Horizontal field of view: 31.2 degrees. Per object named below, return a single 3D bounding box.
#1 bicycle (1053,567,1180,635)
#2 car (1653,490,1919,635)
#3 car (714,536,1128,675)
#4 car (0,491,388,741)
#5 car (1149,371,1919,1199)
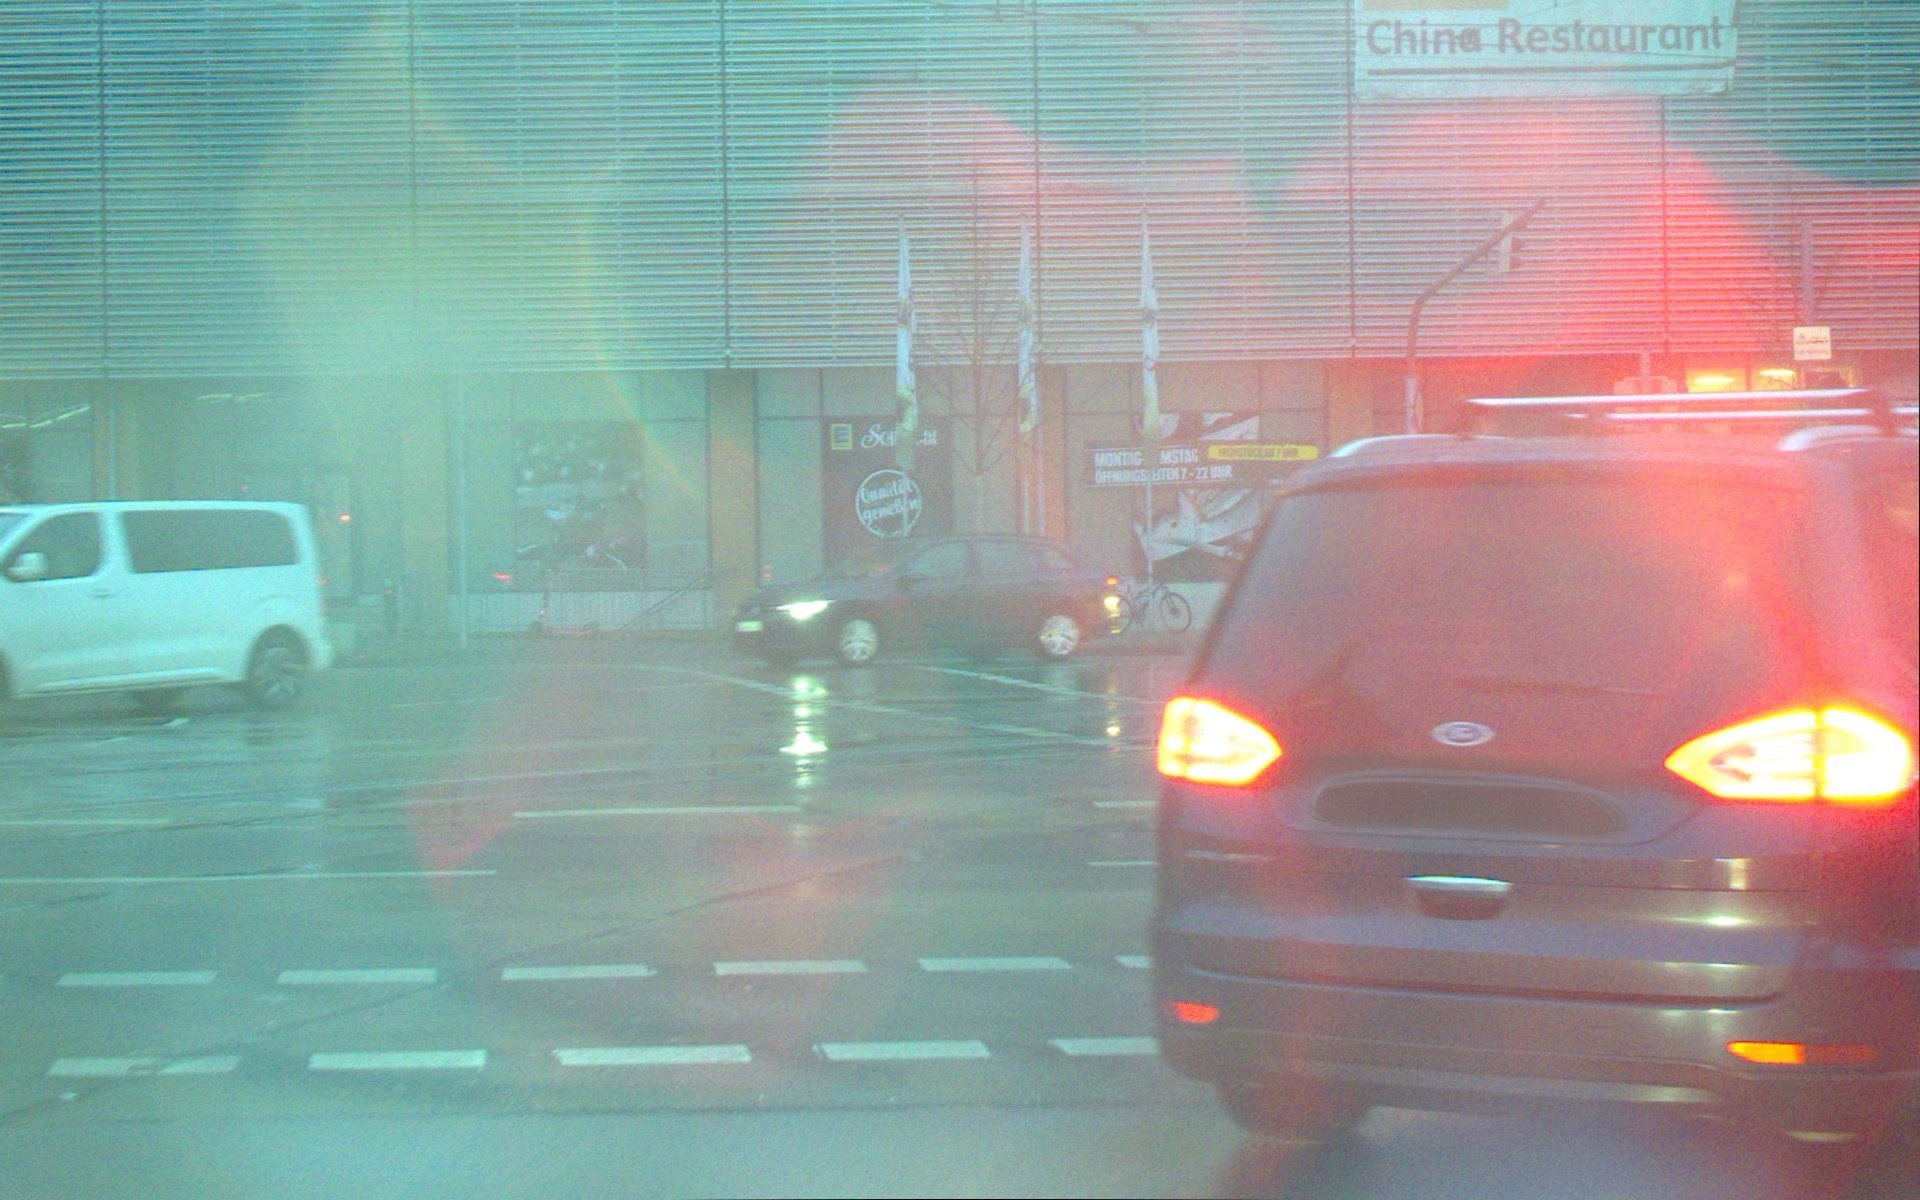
[{"bbox_3d":[2.611,0.015,57.380,2.084,1.118,0.477,1,0,1],"label":"bicycle"},{"bbox_3d":[11.084,-0.479,42.582,4.595,1.713,1.930,-1,1,0],"label":"car"},{"bbox_3d":[-0.409,0.037,38.527,4.409,1.440,1.629,-1,1,-32],"label":"car"},{"bbox_3d":[-7.800,0.110,29.892,1.951,2.052,5.648,0,1,40],"label":"car"},{"bbox_3d":[2.087,0.427,8.645,1.676,1.773,3.994,1,1,28],"label":"car"}]
